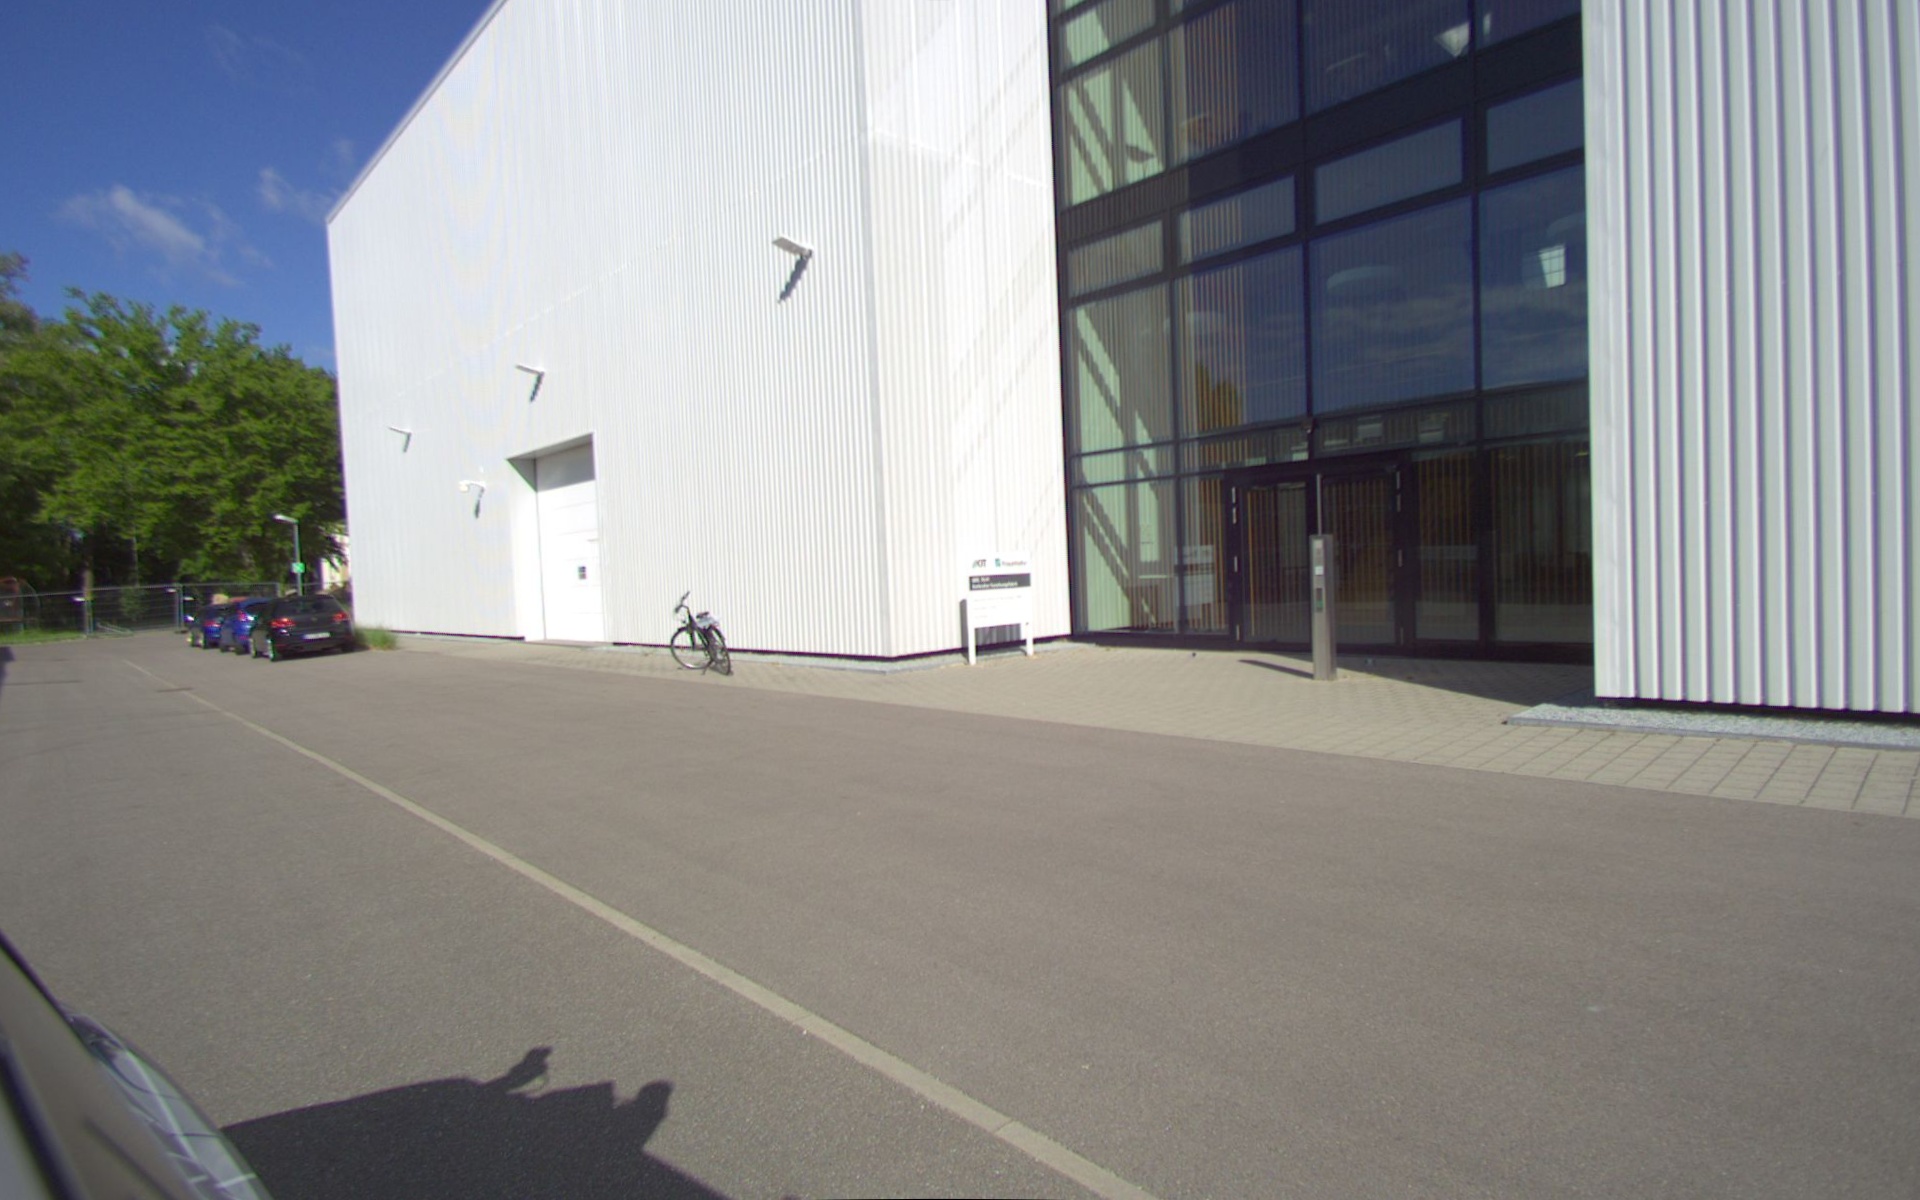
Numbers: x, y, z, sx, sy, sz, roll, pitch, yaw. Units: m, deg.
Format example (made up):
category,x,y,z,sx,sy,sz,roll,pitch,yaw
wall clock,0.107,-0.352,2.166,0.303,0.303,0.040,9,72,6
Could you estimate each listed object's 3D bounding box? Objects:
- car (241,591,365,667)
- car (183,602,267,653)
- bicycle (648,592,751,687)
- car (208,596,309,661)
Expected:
category,x,y,z,sx,sy,sz,roll,pitch,yaw
car,-16.079,0.664,24.689,1.868,1.532,4.006,-7,4,-41
car,-23.476,0.849,32.268,1.764,1.451,4.006,-3,1,-41
bicycle,-3.742,0.513,14.432,0.895,1.151,1.906,-6,4,-28
car,-19.757,0.747,28.443,1.764,1.532,4.006,-7,4,-41
